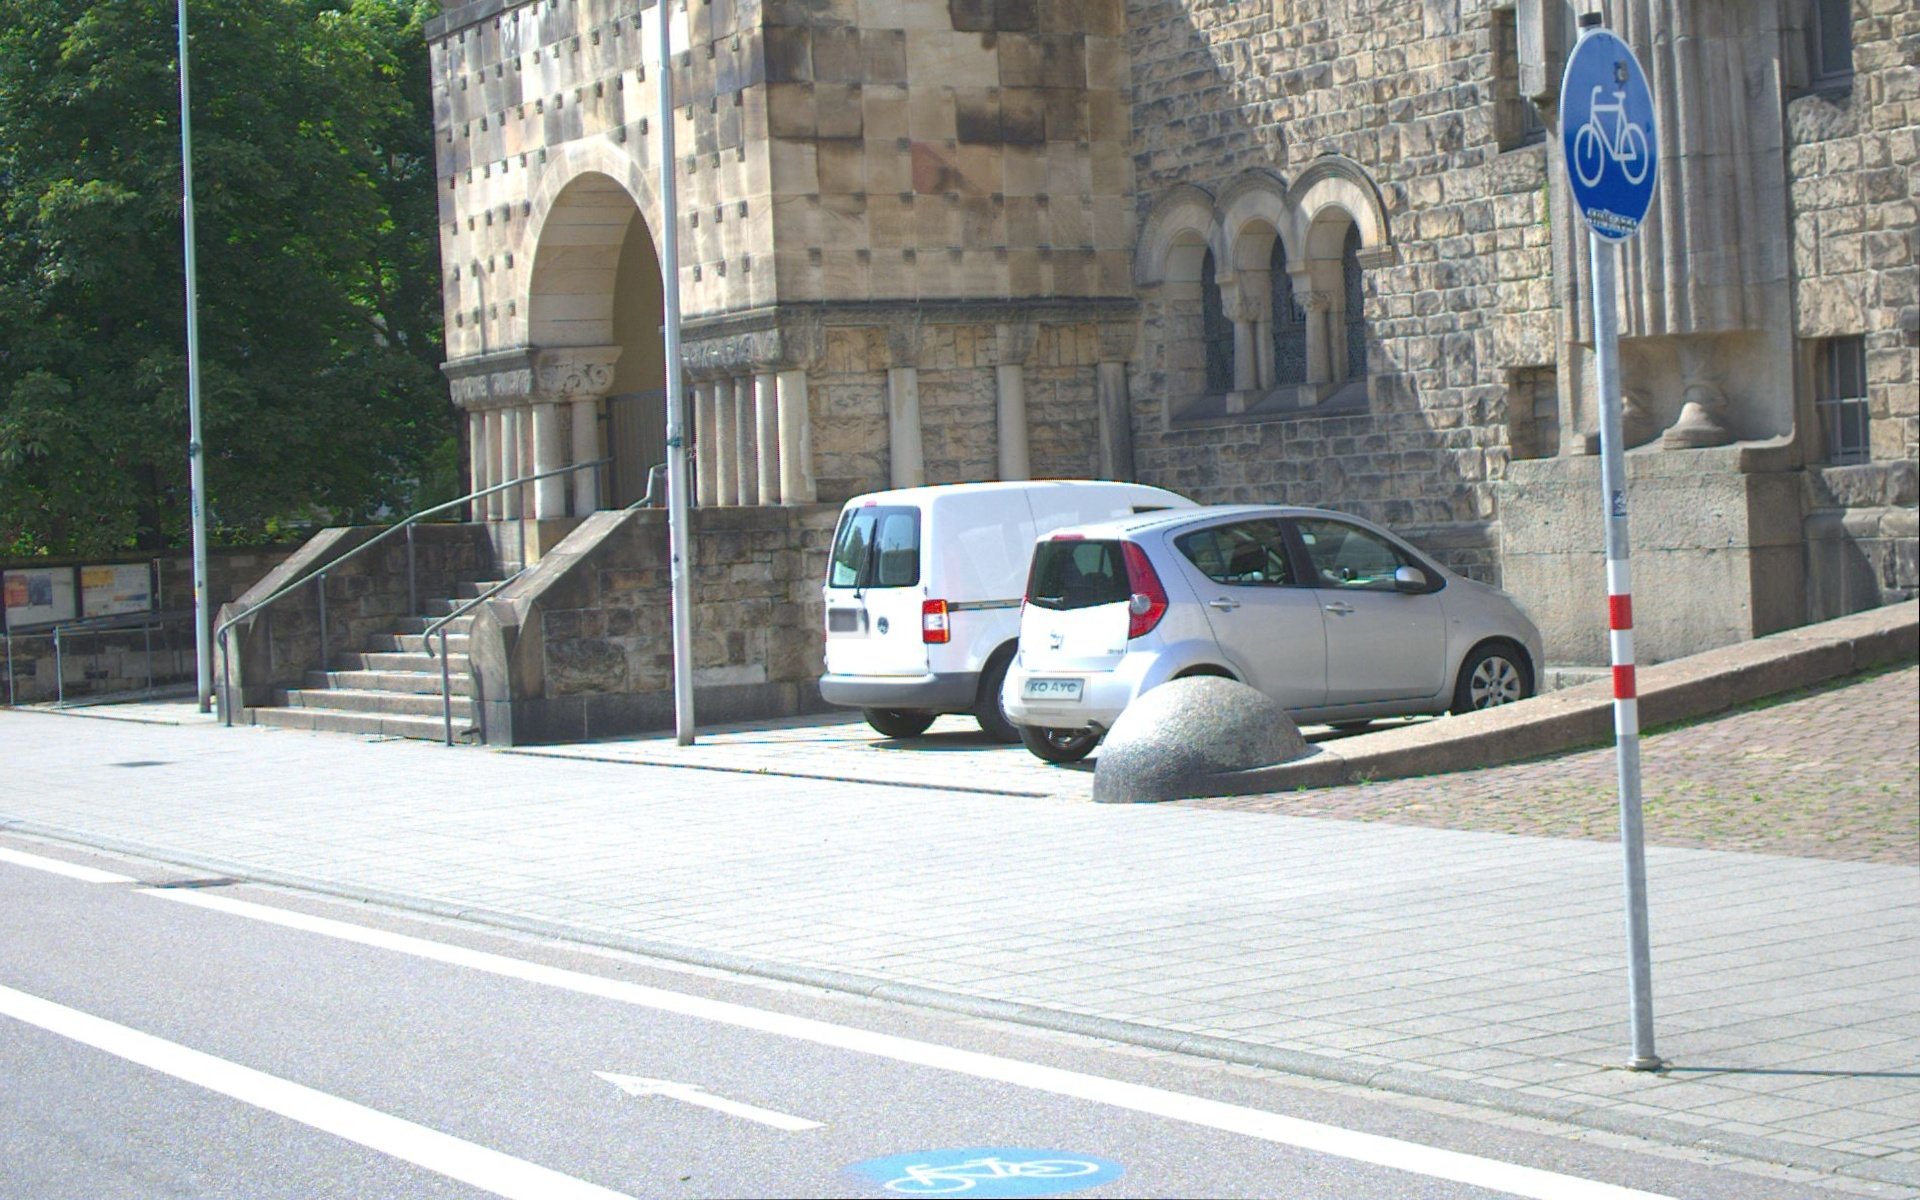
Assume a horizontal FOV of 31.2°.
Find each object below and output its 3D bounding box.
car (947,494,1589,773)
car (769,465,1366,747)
[{"bbox_3d":[2.016,0.167,22.260,3.767,1.541,1.798,-3,2,-32],"label":"car"},{"bbox_3d":[0.822,-0.003,25.423,4.002,1.817,1.863,-3,2,-33],"label":"car"}]
